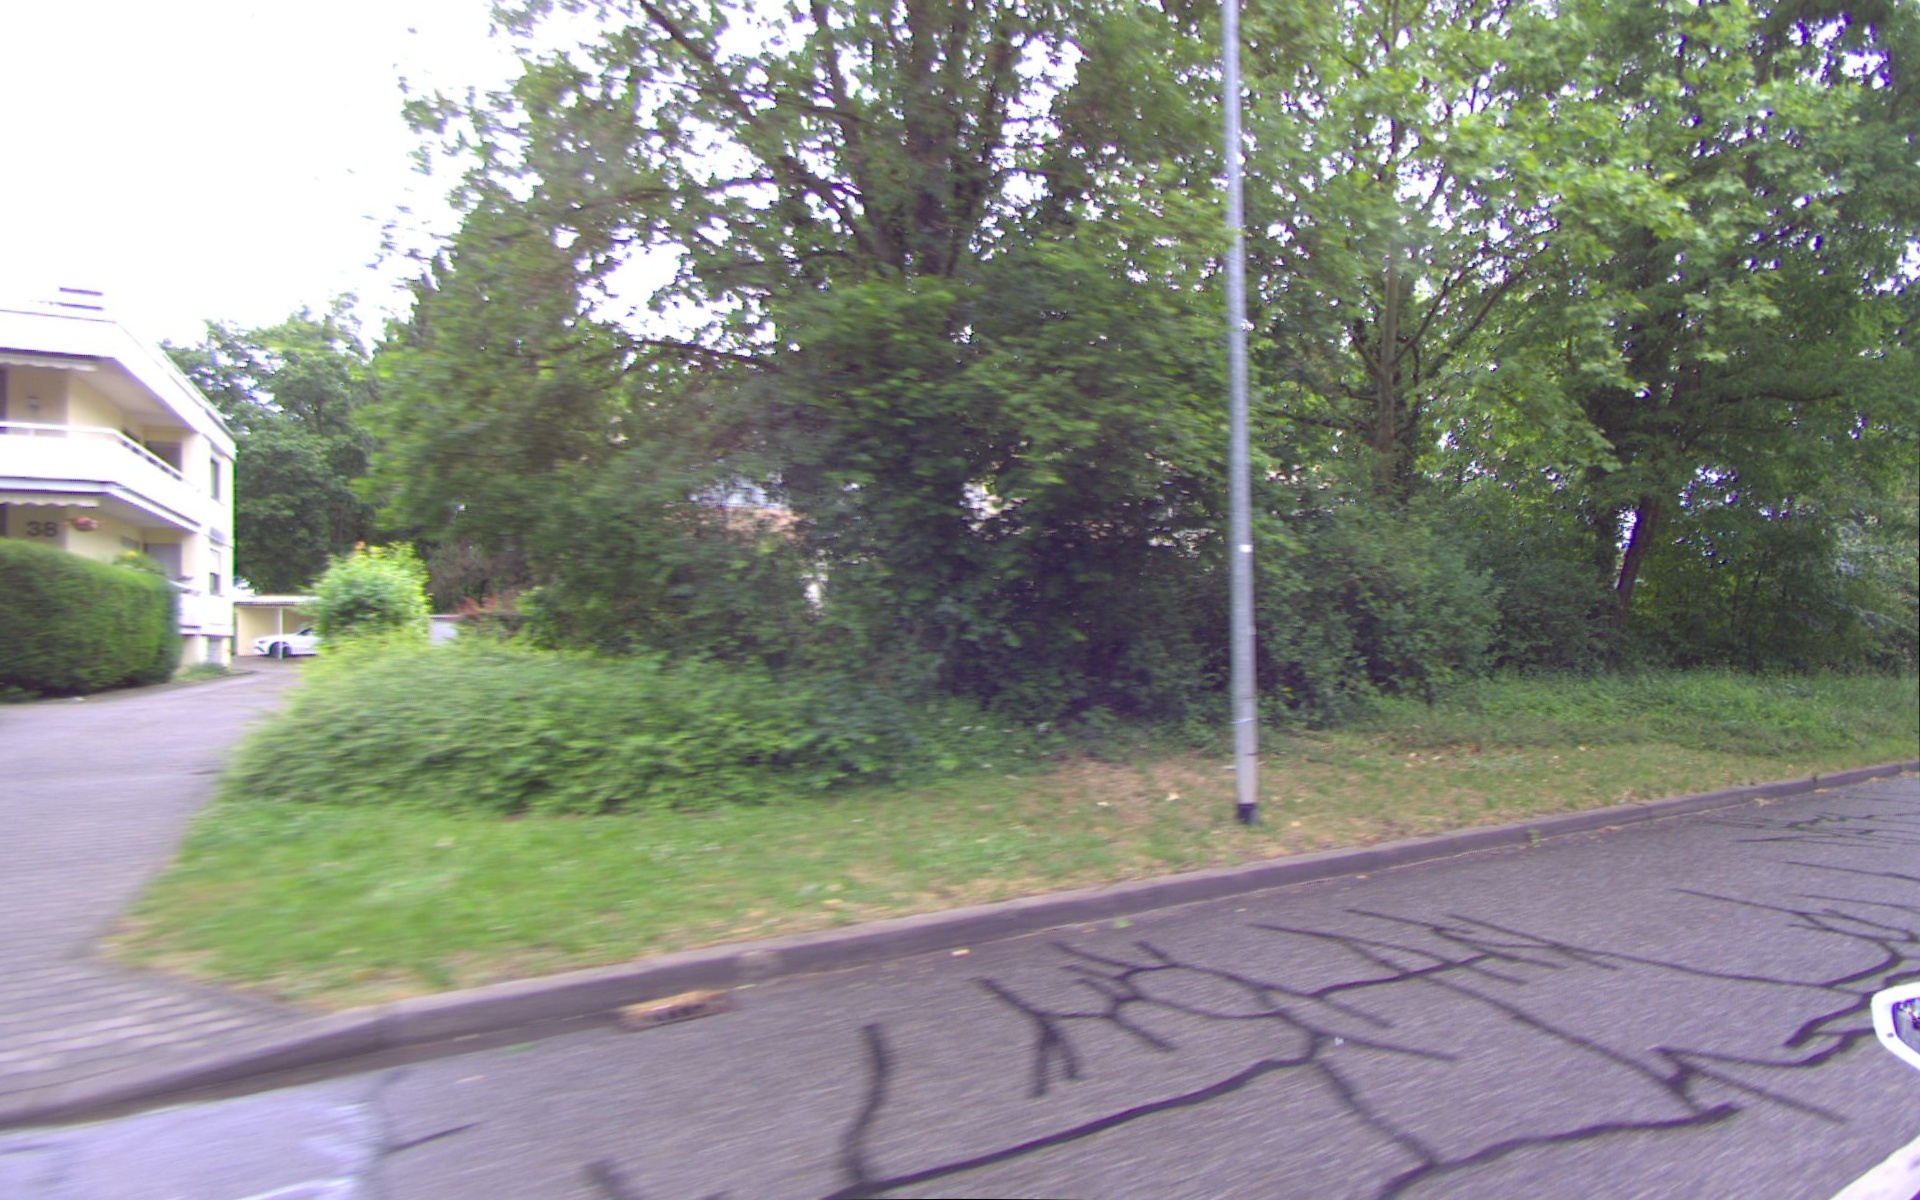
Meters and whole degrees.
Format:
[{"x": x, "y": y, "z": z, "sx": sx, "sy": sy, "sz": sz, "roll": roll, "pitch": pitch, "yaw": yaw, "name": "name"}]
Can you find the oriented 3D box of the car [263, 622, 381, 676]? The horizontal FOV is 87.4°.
[{"x": -26.468, "y": 1.982, "z": 41.824, "sx": 3.951, "sy": 2.040, "sz": 1.985, "roll": -1, "pitch": -1, "yaw": -29, "name": "car"}]
